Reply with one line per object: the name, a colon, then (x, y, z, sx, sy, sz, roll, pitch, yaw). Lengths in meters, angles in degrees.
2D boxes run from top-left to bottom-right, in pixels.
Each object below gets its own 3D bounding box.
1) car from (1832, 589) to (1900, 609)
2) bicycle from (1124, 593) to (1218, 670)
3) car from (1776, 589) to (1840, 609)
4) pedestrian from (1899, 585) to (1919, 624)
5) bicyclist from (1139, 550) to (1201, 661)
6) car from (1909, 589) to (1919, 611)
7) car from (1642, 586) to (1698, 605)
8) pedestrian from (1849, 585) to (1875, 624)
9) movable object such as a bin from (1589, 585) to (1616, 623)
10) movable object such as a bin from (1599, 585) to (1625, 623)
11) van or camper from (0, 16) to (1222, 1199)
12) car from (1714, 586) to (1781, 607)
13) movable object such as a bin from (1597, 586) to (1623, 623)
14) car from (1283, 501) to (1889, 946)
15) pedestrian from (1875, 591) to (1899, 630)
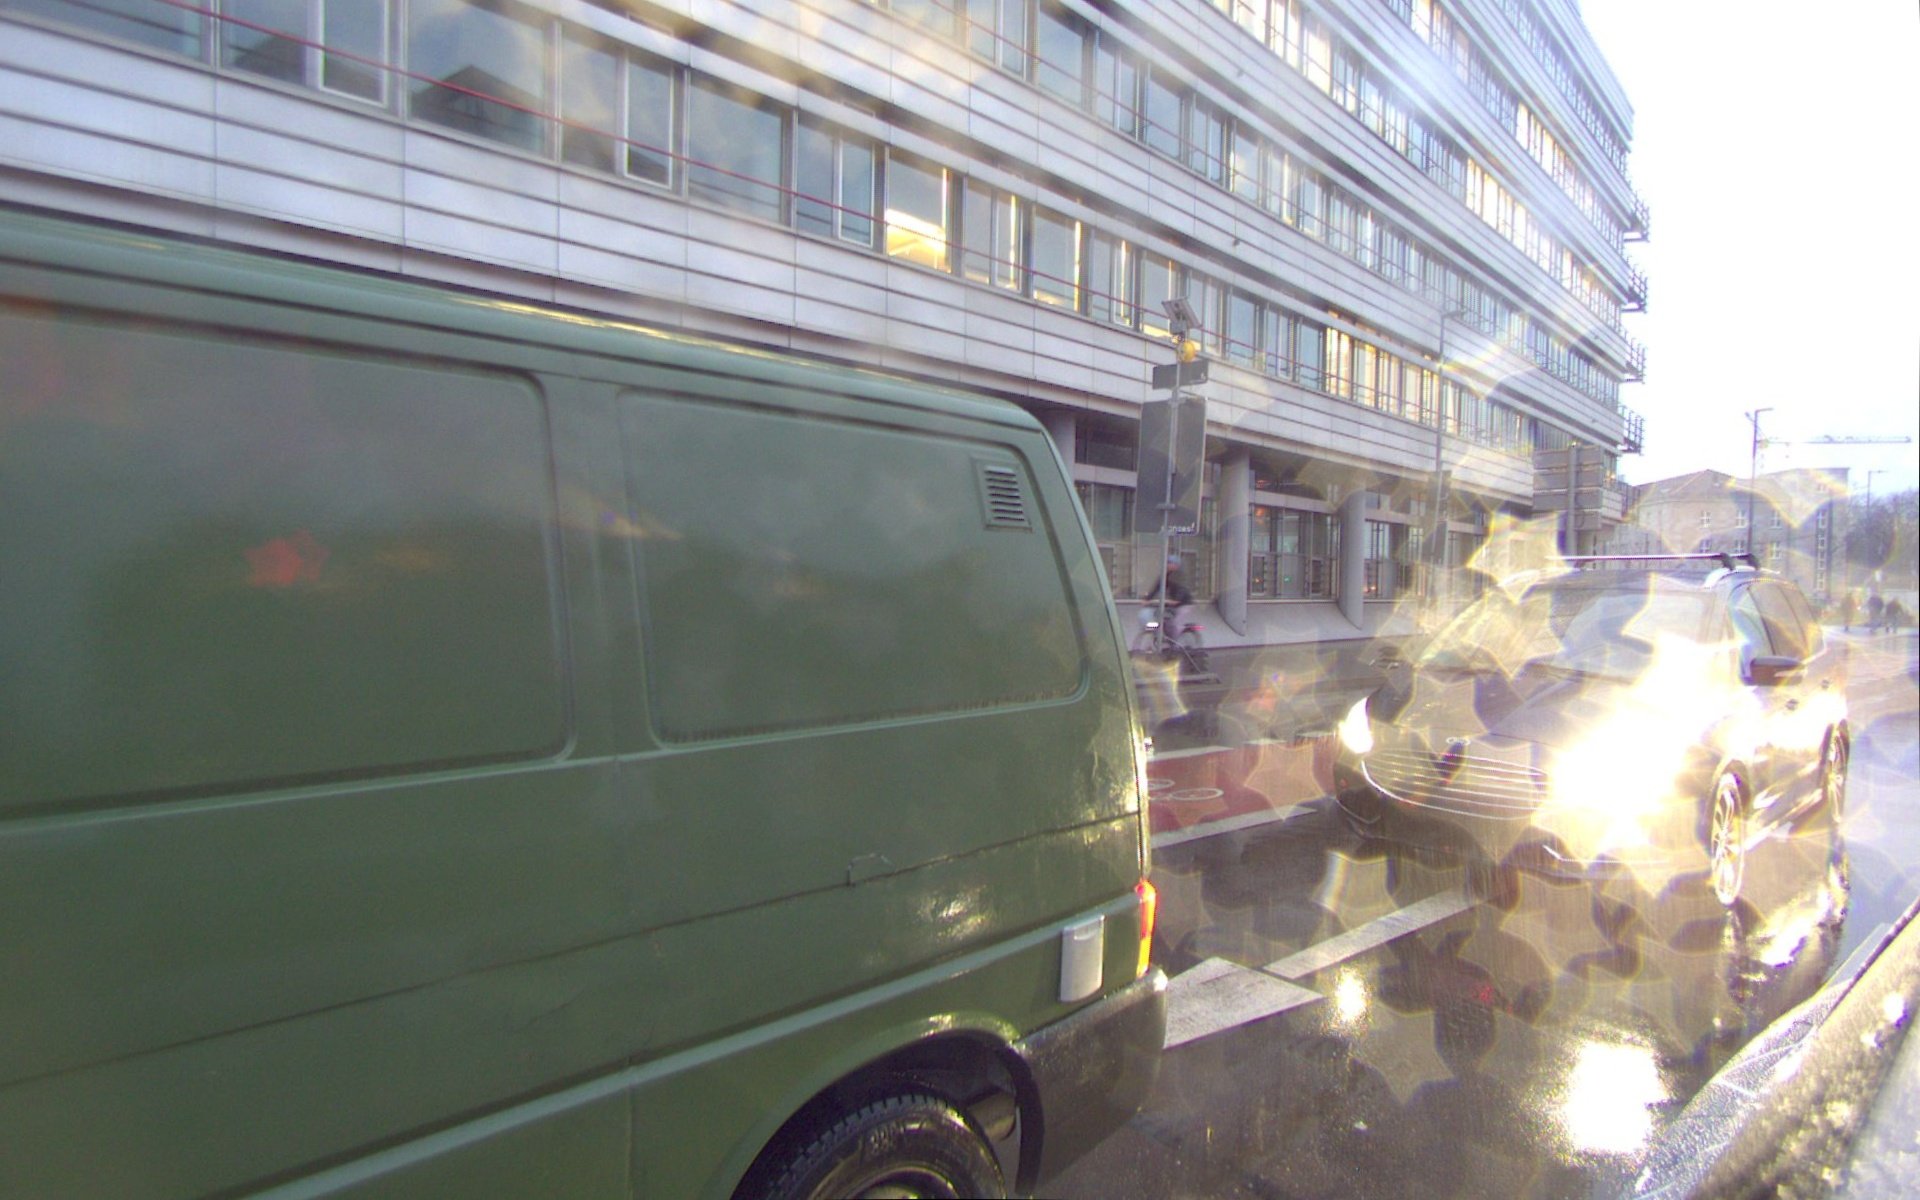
car: (74.299, -0.111, 83.054, 1.743, 1.556, 3.775, 1, 1, -24)
bicycle: (3.593, 0.501, 17.141, 1.732, 1.213, 0.680, 0, 3, -45)
car: (72.890, -0.118, 87.030, 1.743, 1.556, 3.775, 1, 1, -24)
pedestrian: (42.314, 0.207, 45.070, 0.870, 1.689, 0.615, 0, 3, -44)
bicyclist: (3.541, 0.073, 17.060, 0.793, 1.820, 0.670, 0, 2, -45)
car: (76.597, 0.067, 78.564, 1.743, 1.730, 3.932, 0, 1, -26)
car: (68.621, -0.458, 97.839, 1.958, 1.693, 4.013, 0, 1, -24)
pedestrian: (41.582, 0.185, 46.651, 0.953, 1.722, 0.746, 0, 4, -44)
movable object such as a bin: (24.842, 0.153, 39.140, 0.826, 1.446, 0.665, 0, 1, -44)
movable object such as a bin: (26.076, 0.167, 40.458, 0.826, 1.495, 0.665, 0, 1, -44)
van or camper: (-1.674, 0.456, 1.302, 4.341, 1.931, 1.760, 0, 0, -41)
car: (71.075, -0.334, 91.403, 1.958, 1.782, 4.386, 0, 1, -24)
movable object such as a bin: (25.502, 0.168, 39.724, 0.826, 1.446, 0.665, 0, 1, -44)
car: (4.158, 0.500, 6.374, 4.587, 1.834, 1.887, 0, 0, -39)
pedestrian: (41.688, 0.459, 45.500, 0.870, 1.723, 0.650, 0, 3, -44)
